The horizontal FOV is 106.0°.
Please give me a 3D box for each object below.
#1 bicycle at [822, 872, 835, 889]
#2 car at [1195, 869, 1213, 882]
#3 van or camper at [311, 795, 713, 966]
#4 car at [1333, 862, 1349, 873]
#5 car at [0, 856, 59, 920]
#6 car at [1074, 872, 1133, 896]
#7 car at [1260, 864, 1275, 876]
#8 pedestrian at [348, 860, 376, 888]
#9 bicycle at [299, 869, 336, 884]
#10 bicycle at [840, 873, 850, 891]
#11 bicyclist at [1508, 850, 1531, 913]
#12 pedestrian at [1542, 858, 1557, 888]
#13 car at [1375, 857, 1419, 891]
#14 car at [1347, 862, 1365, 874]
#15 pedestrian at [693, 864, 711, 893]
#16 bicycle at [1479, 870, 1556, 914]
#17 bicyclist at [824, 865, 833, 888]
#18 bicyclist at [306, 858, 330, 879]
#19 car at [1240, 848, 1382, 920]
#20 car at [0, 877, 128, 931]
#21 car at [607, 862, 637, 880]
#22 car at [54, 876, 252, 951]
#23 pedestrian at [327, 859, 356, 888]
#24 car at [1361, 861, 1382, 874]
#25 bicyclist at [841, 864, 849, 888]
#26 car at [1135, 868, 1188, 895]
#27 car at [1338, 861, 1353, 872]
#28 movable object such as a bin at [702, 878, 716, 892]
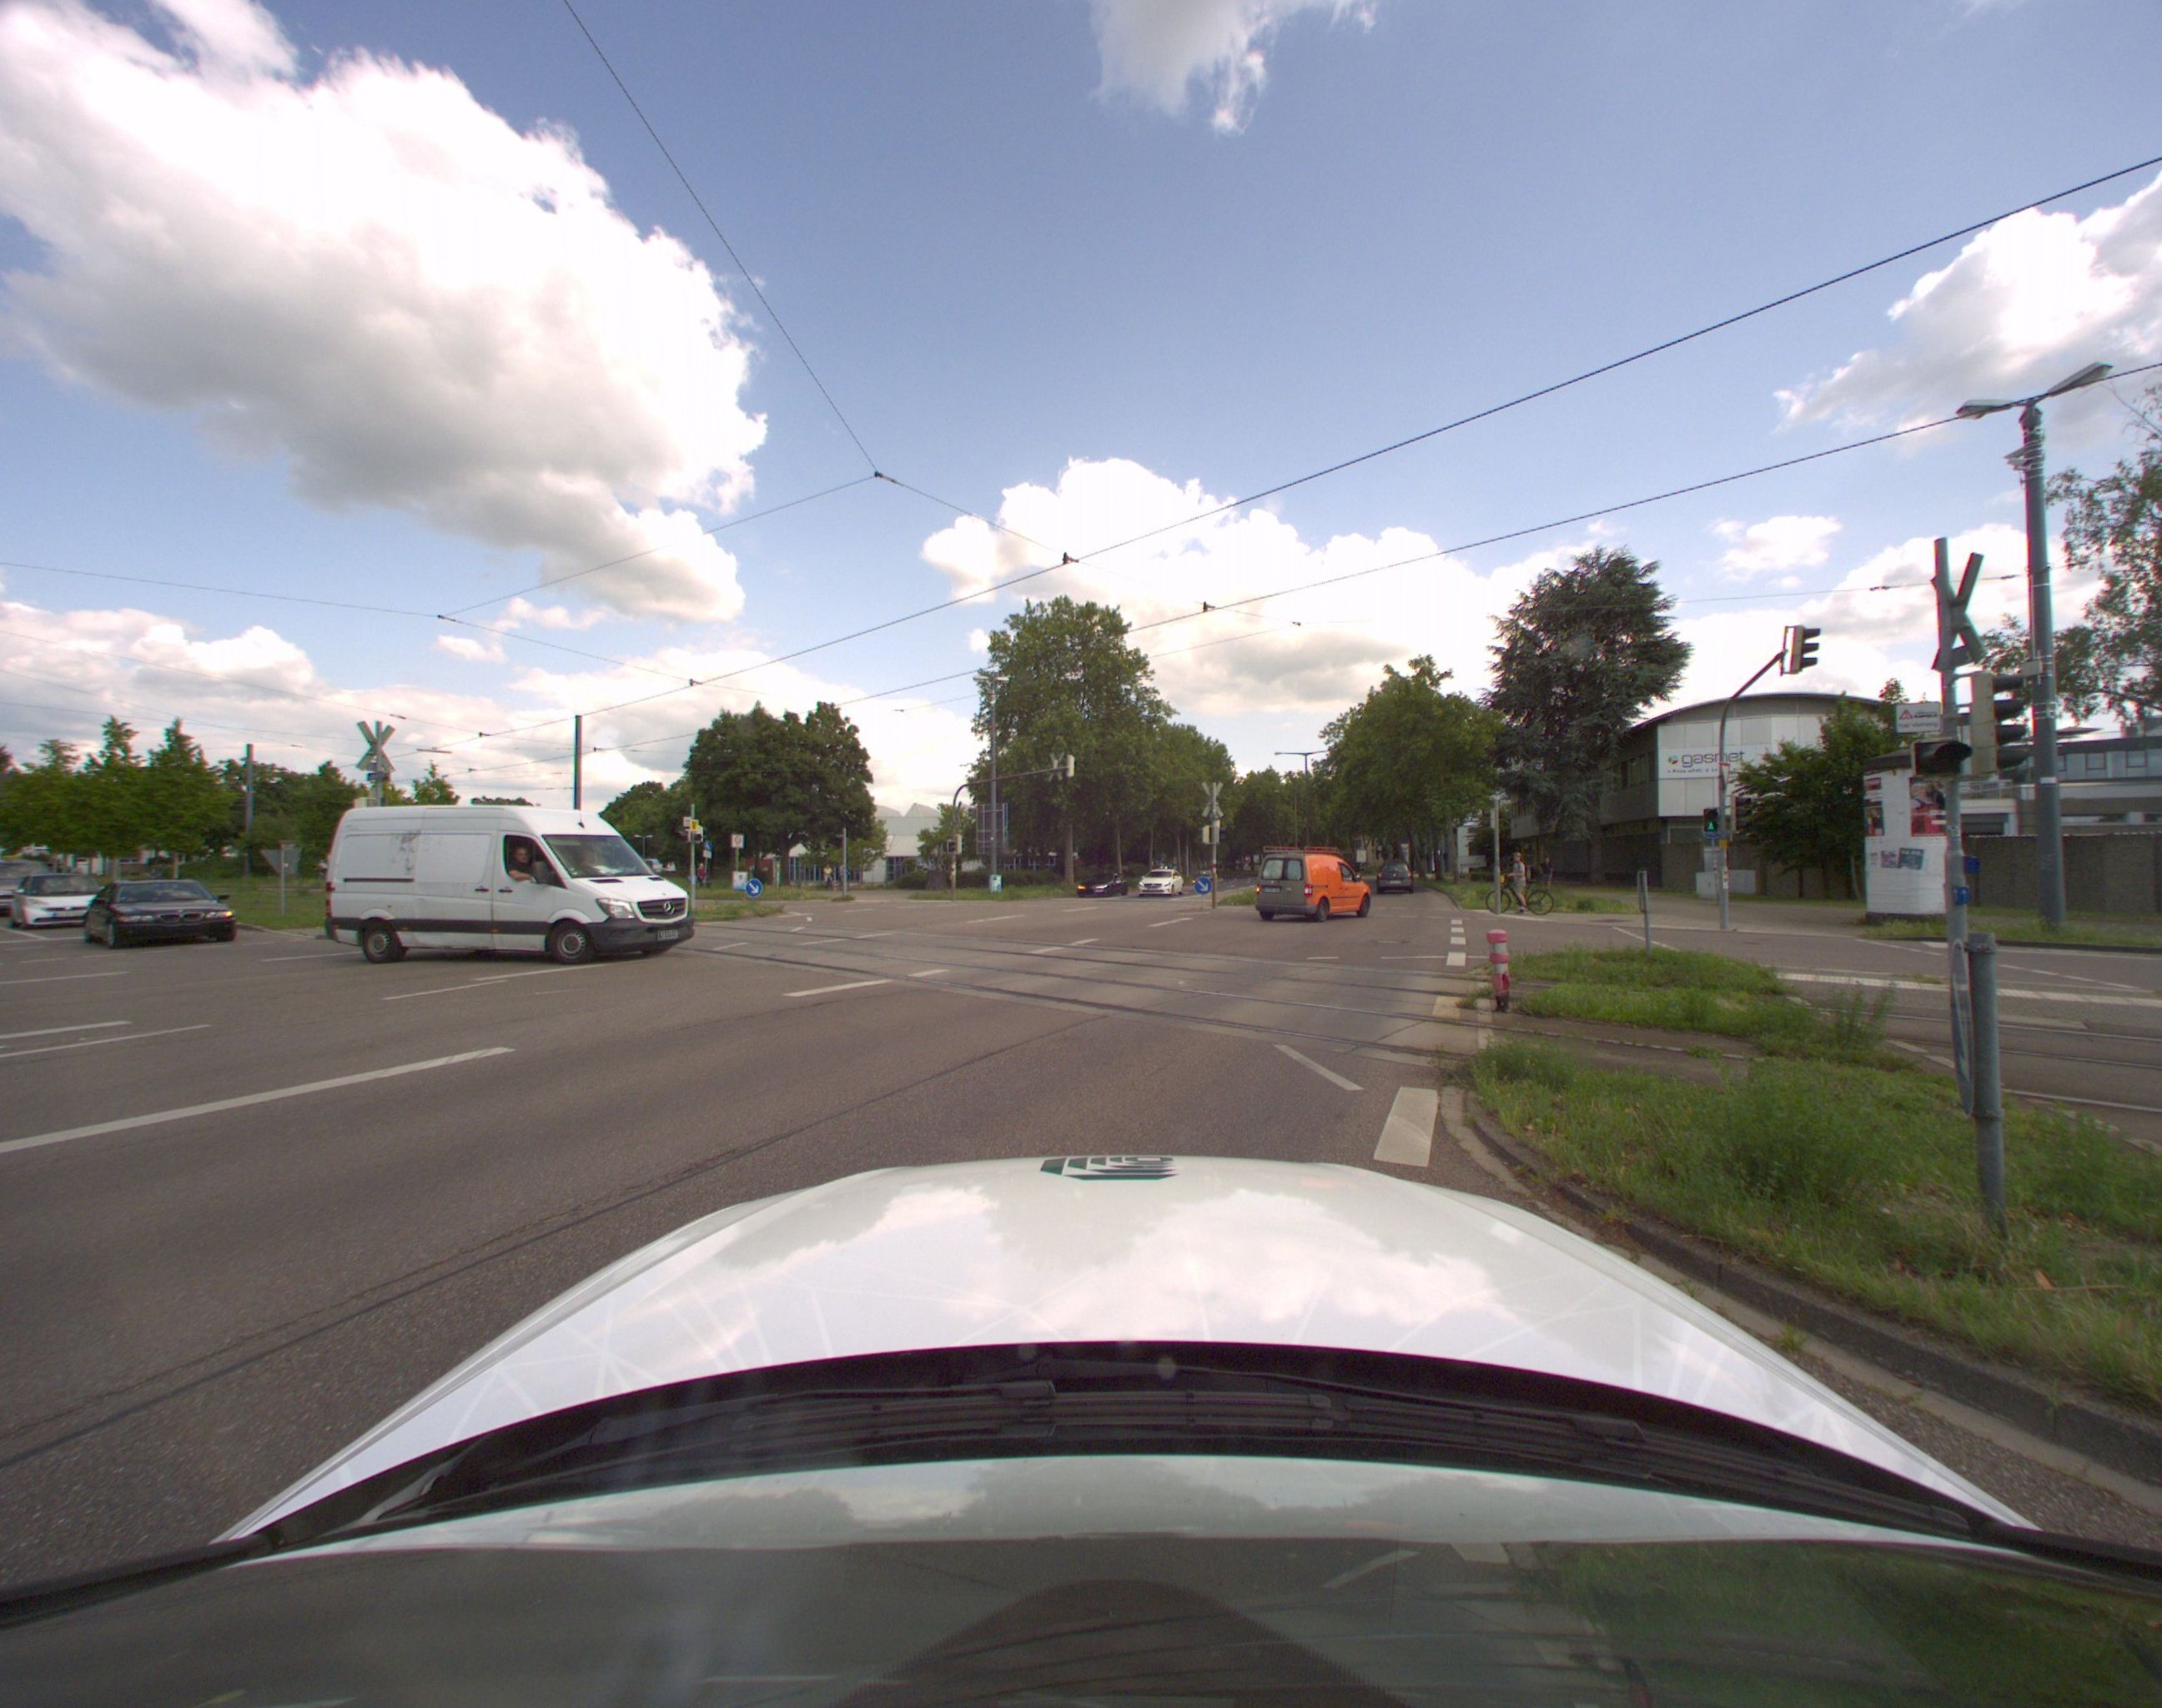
[{"bbox_3d":[-17.267,1.808,55.653,0.564,1.130,1.367,0,-1,-28],"label":"bicycle"},{"bbox_3d":[11.300,1.954,74.882,1.625,1.192,3.717,0,-1,9],"label":"car"},{"bbox_3d":[-9.458,0.432,13.652,5.975,2.525,1.989,0,-1,13],"label":"van or camper"},{"bbox_3d":[41.721,2.091,130.676,1.981,1.574,4.013,-1,1,11],"label":"car"},{"bbox_3d":[-37.931,1.161,28.588,4.327,2.155,1.867,-1,-1,29],"label":"car"},{"bbox_3d":[1.247,1.609,44.090,1.619,1.192,3.731,-1,-1,29],"label":"car"},{"bbox_3d":[22.694,1.988,99.082,1.646,1.271,3.783,-1,1,11],"label":"car"},{"bbox_3d":[-51.968,1.413,58.844,1.163,2.014,1.112,-1,-1,22],"label":"pedestrian"},{"bbox_3d":[-56.508,1.653,60.299,1.966,1.040,0.954,0,-1,9],"label":"bicycle"},{"bbox_3d":[-15.437,1.831,53.230,0.562,1.130,1.372,1,-2,-17],"label":"bicycle"},{"bbox_3d":[12.824,0.785,23.792,0.538,1.809,0.544,-1,1,32],"label":"bicyclist"},{"bbox_3d":[25.078,0.994,43.609,0.615,1.569,0.562,-1,1,22],"label":"pedestrian"},{"bbox_3d":[16.073,1.042,41.356,1.714,1.630,4.076,-2,-2,26],"label":"car"},{"bbox_3d":[41.240,2.048,122.205,1.981,1.574,4.013,-1,1,11],"label":"car"},{"bbox_3d":[-21.954,1.390,47.145,0.631,1.644,0.615,-1,1,14],"label":"pedestrian"},{"bbox_3d":[12.761,1.085,23.838,1.927,1.235,0.544,-1,1,32],"label":"bicycle"},{"bbox_3d":[-17.264,1.508,55.664,0.488,1.554,0.551,2,-2,-28],"label":"bicyclist"},{"bbox_3d":[-56.484,1.067,60.286,0.828,1.489,0.966,0,-1,11],"label":"bicyclist"},{"bbox_3d":[6.434,0.766,22.544,1.861,1.800,4.395,-1,-1,45],"label":"car"},{"bbox_3d":[-29.997,1.398,23.881,4.327,1.431,1.823,-1,-1,29],"label":"car"},{"bbox_3d":[-42.571,1.571,75.503,2.009,1.640,4.342,0,-1,-36],"label":"car"},{"bbox_3d":[-20.154,1.239,17.657,4.412,1.431,1.822,-2,-1,28],"label":"car"},{"bbox_3d":[-52.451,1.392,57.738,1.163,2.014,1.112,-1,-1,23],"label":"pedestrian"},{"bbox_3d":[39.304,1.866,110.279,1.981,1.574,4.013,-1,1,11],"label":"car"},{"bbox_3d":[-15.439,1.414,53.232,0.487,1.554,0.553,0,-3,-17],"label":"bicyclist"},{"bbox_3d":[4.349,1.442,43.545,1.810,1.364,4.159,-1,-1,21],"label":"car"},{"bbox_3d":[45.755,2.164,141.124,1.981,1.574,4.013,-1,1,11],"label":"car"},{"bbox_3d":[-21.480,1.786,47.027,0.455,0.811,0.581,-1,1,14],"label":"movable object such as a bin"}]
